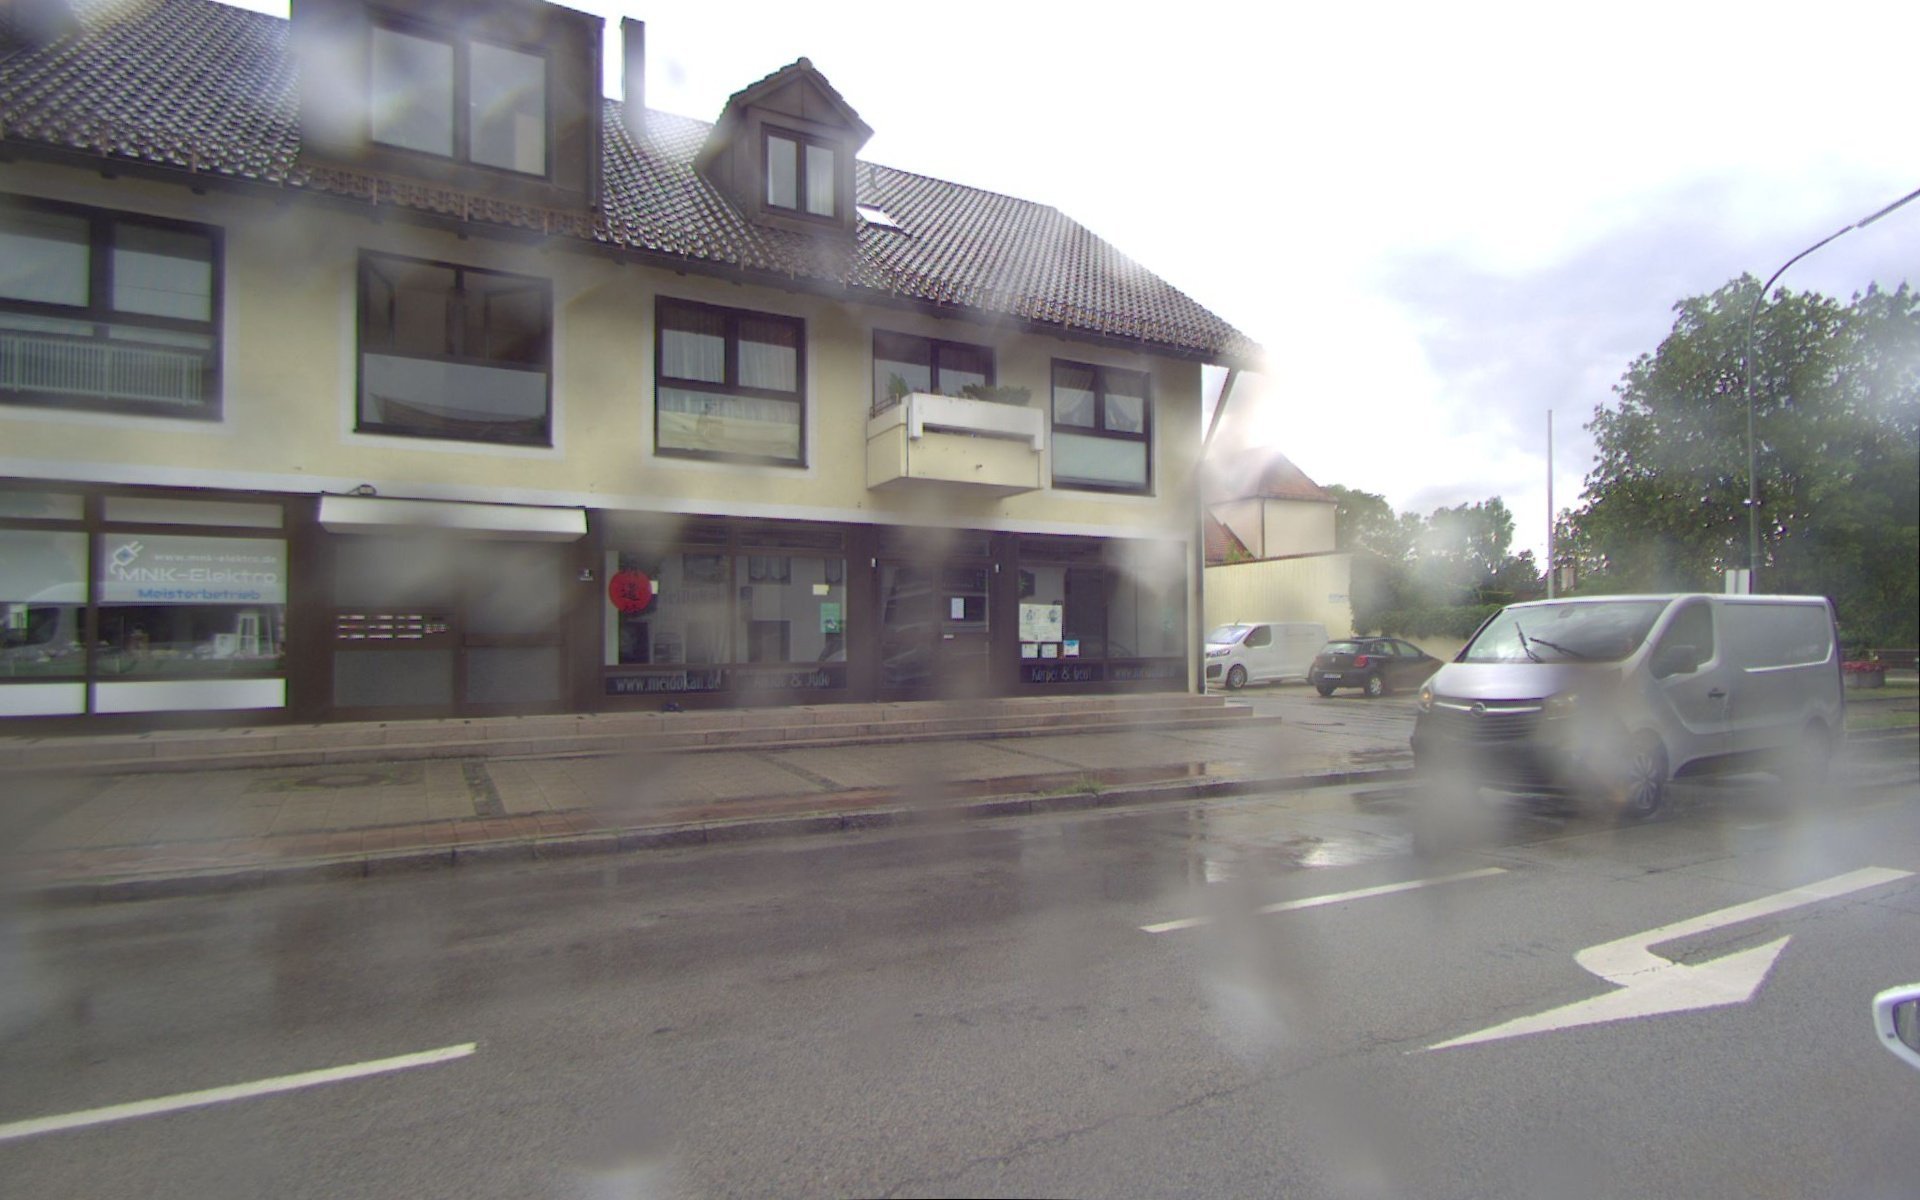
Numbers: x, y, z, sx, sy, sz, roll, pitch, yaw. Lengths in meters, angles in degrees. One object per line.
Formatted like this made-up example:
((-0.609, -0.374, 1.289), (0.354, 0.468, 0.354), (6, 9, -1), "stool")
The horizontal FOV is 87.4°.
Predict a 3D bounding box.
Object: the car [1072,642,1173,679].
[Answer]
((5.819, 2.147, 35.969), (3.289, 1.264, 1.514), (1, -3, -24), "car")

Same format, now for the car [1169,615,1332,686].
((8.587, 1.498, 29.611), (4.681, 1.944, 1.956), (2, -4, -30), "car")

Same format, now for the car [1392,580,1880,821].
((6.863, 0.917, 10.053), (5.193, 1.916, 1.809), (1, -4, -29), "car")

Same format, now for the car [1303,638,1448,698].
((10.514, 1.696, 25.384), (3.467, 1.398, 1.600), (2, -4, -30), "car")
